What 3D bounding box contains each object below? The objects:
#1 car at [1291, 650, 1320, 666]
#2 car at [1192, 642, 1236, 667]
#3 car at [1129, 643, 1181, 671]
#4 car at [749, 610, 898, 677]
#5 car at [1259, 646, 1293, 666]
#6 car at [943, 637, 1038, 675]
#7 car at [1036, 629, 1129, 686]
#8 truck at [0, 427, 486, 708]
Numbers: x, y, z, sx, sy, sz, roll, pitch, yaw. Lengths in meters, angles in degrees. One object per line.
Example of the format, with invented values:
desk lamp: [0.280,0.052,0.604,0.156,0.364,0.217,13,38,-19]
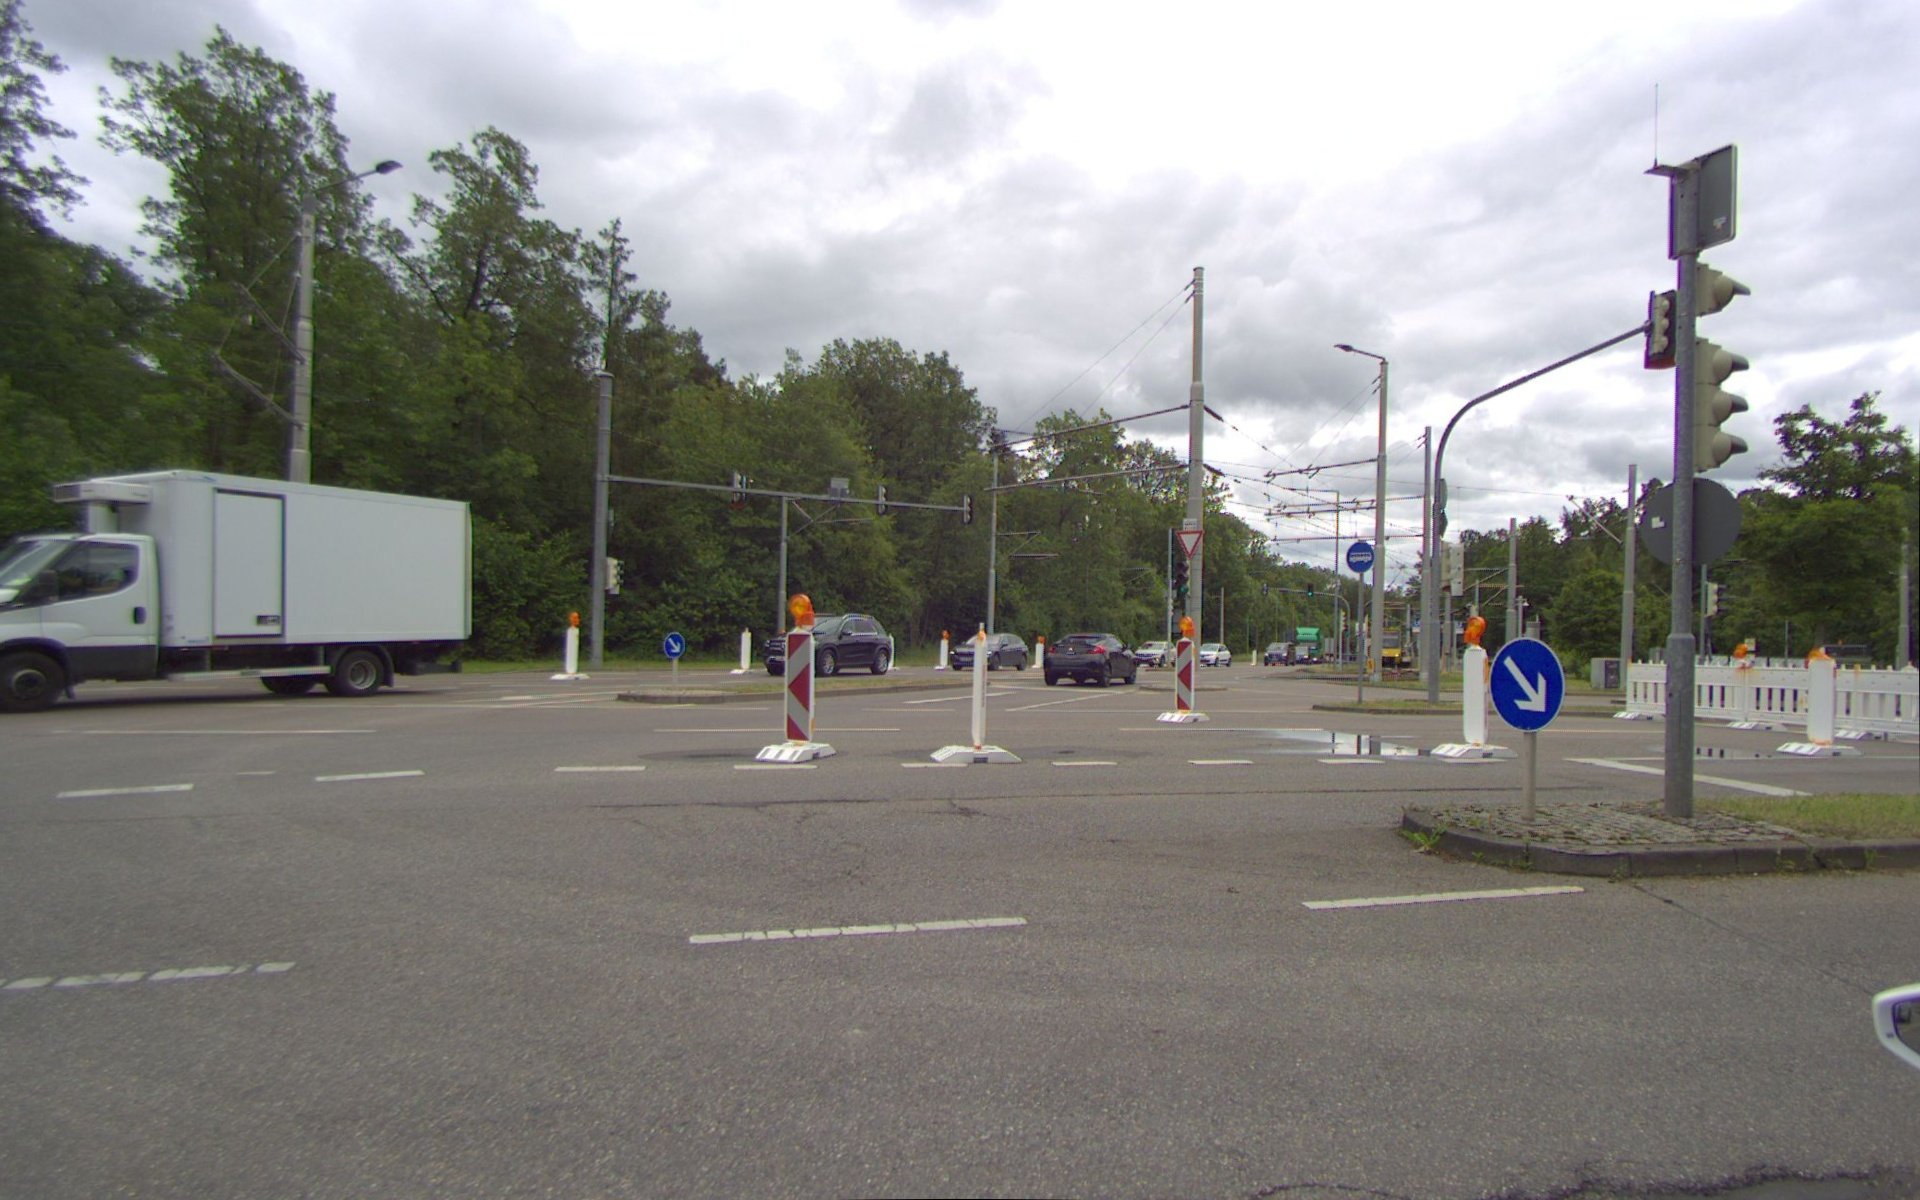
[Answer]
car: [32.165,5.389,93.540,1.932,1.379,4.305,0,-2,28]
car: [17.420,3.728,68.738,1.932,1.561,4.390,0,-2,28]
car: [11.914,3.440,61.070,1.932,1.628,4.305,0,-2,28]
car: [-3.844,1.265,29.264,1.931,1.773,4.842,1,-2,26]
car: [26.119,4.638,82.901,1.932,1.560,4.305,0,-2,28]
car: [1.290,2.200,39.946,1.932,1.379,4.684,0,-2,28]
car: [3.295,1.503,26.510,1.744,1.379,3.478,0,-3,19]
truck: [-10.951,-0.224,14.820,2.411,3.266,7.150,0,-3,26]
